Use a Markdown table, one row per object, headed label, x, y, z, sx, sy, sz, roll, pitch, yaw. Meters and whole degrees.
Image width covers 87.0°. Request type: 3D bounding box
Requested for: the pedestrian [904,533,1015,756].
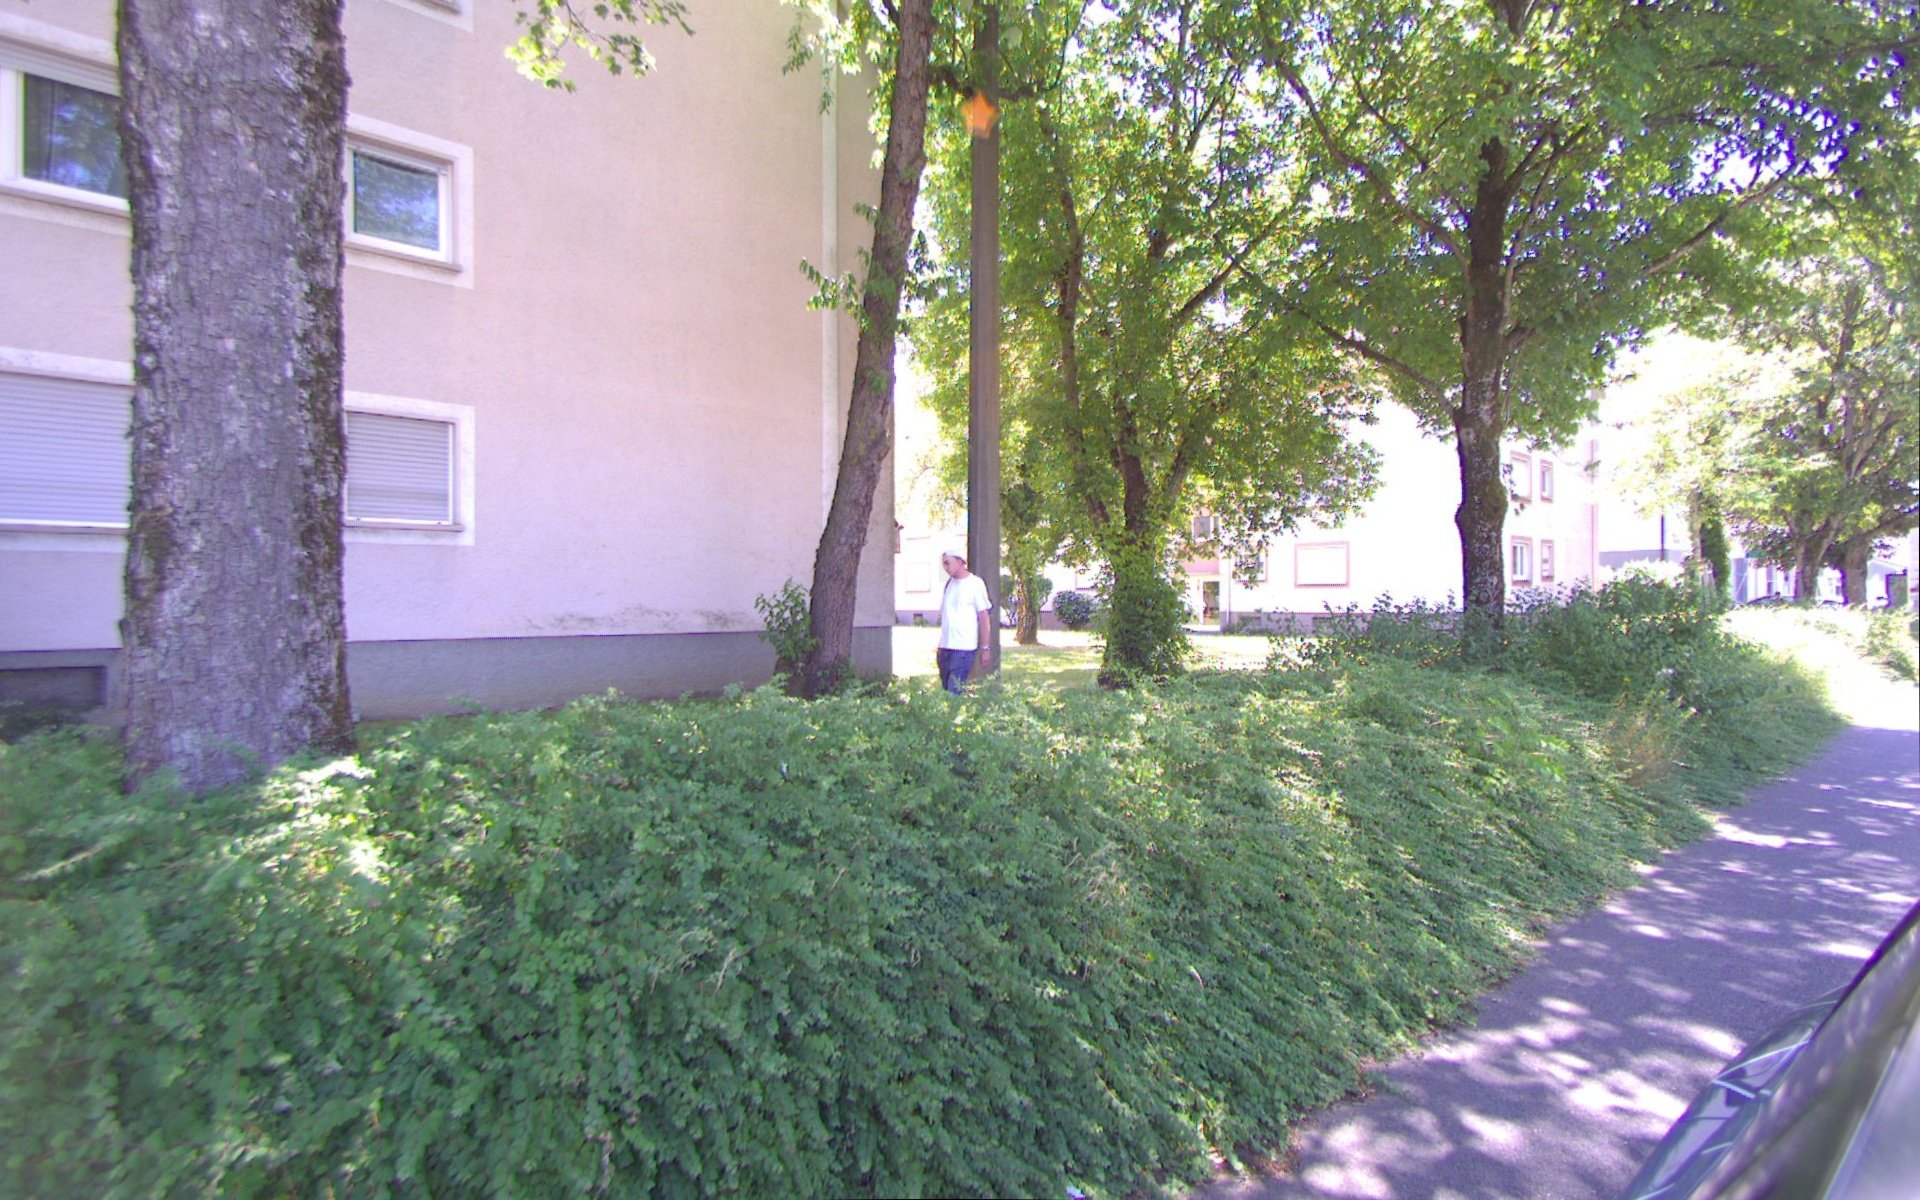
| label | x | y | z | sx | sy | sz | roll | pitch | yaw |
| --- | --- | --- | --- | --- | --- | --- | --- | --- | --- |
| pedestrian | 0.012 | 0.370 | 9.168 | 0.668 | 1.897 | 0.894 | 0 | 0 | 28 |
